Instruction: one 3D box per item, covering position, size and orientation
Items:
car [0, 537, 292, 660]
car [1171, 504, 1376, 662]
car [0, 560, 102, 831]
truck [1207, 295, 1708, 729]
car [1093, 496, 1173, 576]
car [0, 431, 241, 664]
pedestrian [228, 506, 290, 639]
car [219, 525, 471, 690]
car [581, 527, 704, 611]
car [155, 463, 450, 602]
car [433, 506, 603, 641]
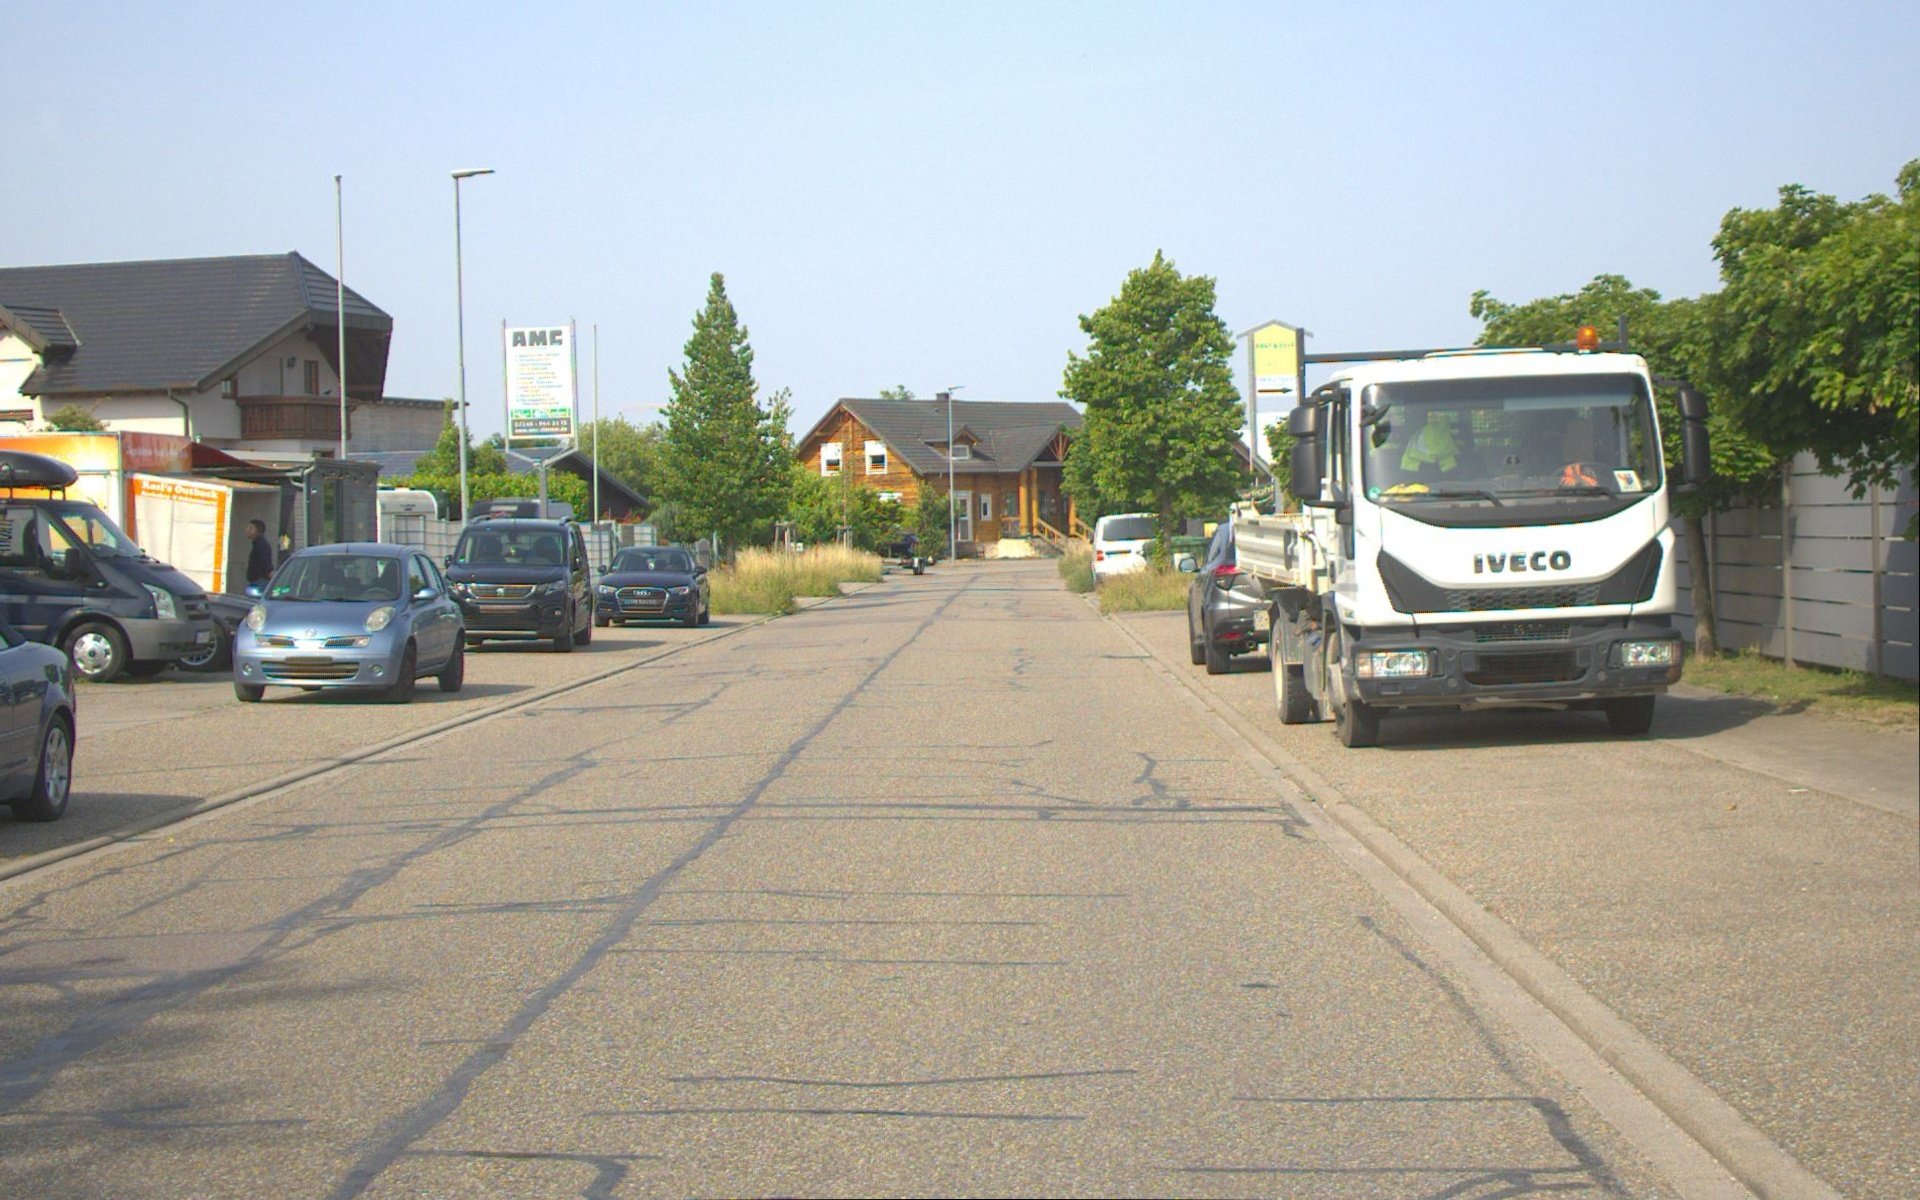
[{"bbox_3d":[-9.943,-0.035,41.162,3.587,1.409,1.762,0,1,-2],"label":"car"},{"bbox_3d":[3.298,-0.224,36.808,1.794,1.555,4.000,-2,1,0],"label":"car"},{"bbox_3d":[-5.827,0.515,17.790,1.633,1.382,4.369,0,2,1],"label":"car"},{"bbox_3d":[3.384,-0.636,24.979,2.359,2.672,6.512,-2,1,-3],"label":"truck"},{"bbox_3d":[4.361,-1.629,86.955,1.838,1.917,3.756,-2,2,1],"label":"car"},{"bbox_3d":[-10.373,-0.554,37.259,4.627,2.408,2.000,-1,1,4],"label":"car"},{"bbox_3d":[-9.199,-0.362,45.122,0.562,1.709,0.534,-3,2,-36],"label":"pedestrian"},{"bbox_3d":[-5.994,0.031,33.852,1.633,1.512,3.605,0,2,4],"label":"car"},{"bbox_3d":[-5.568,-0.566,60.636,1.800,1.382,3.638,0,2,0],"label":"car"},{"bbox_3d":[-13.191,-1.353,69.043,5.162,2.577,2.574,-1,2,22],"label":"car"},{"bbox_3d":[-6.121,-0.411,47.977,1.800,1.768,4.203,0,2,0],"label":"car"}]
